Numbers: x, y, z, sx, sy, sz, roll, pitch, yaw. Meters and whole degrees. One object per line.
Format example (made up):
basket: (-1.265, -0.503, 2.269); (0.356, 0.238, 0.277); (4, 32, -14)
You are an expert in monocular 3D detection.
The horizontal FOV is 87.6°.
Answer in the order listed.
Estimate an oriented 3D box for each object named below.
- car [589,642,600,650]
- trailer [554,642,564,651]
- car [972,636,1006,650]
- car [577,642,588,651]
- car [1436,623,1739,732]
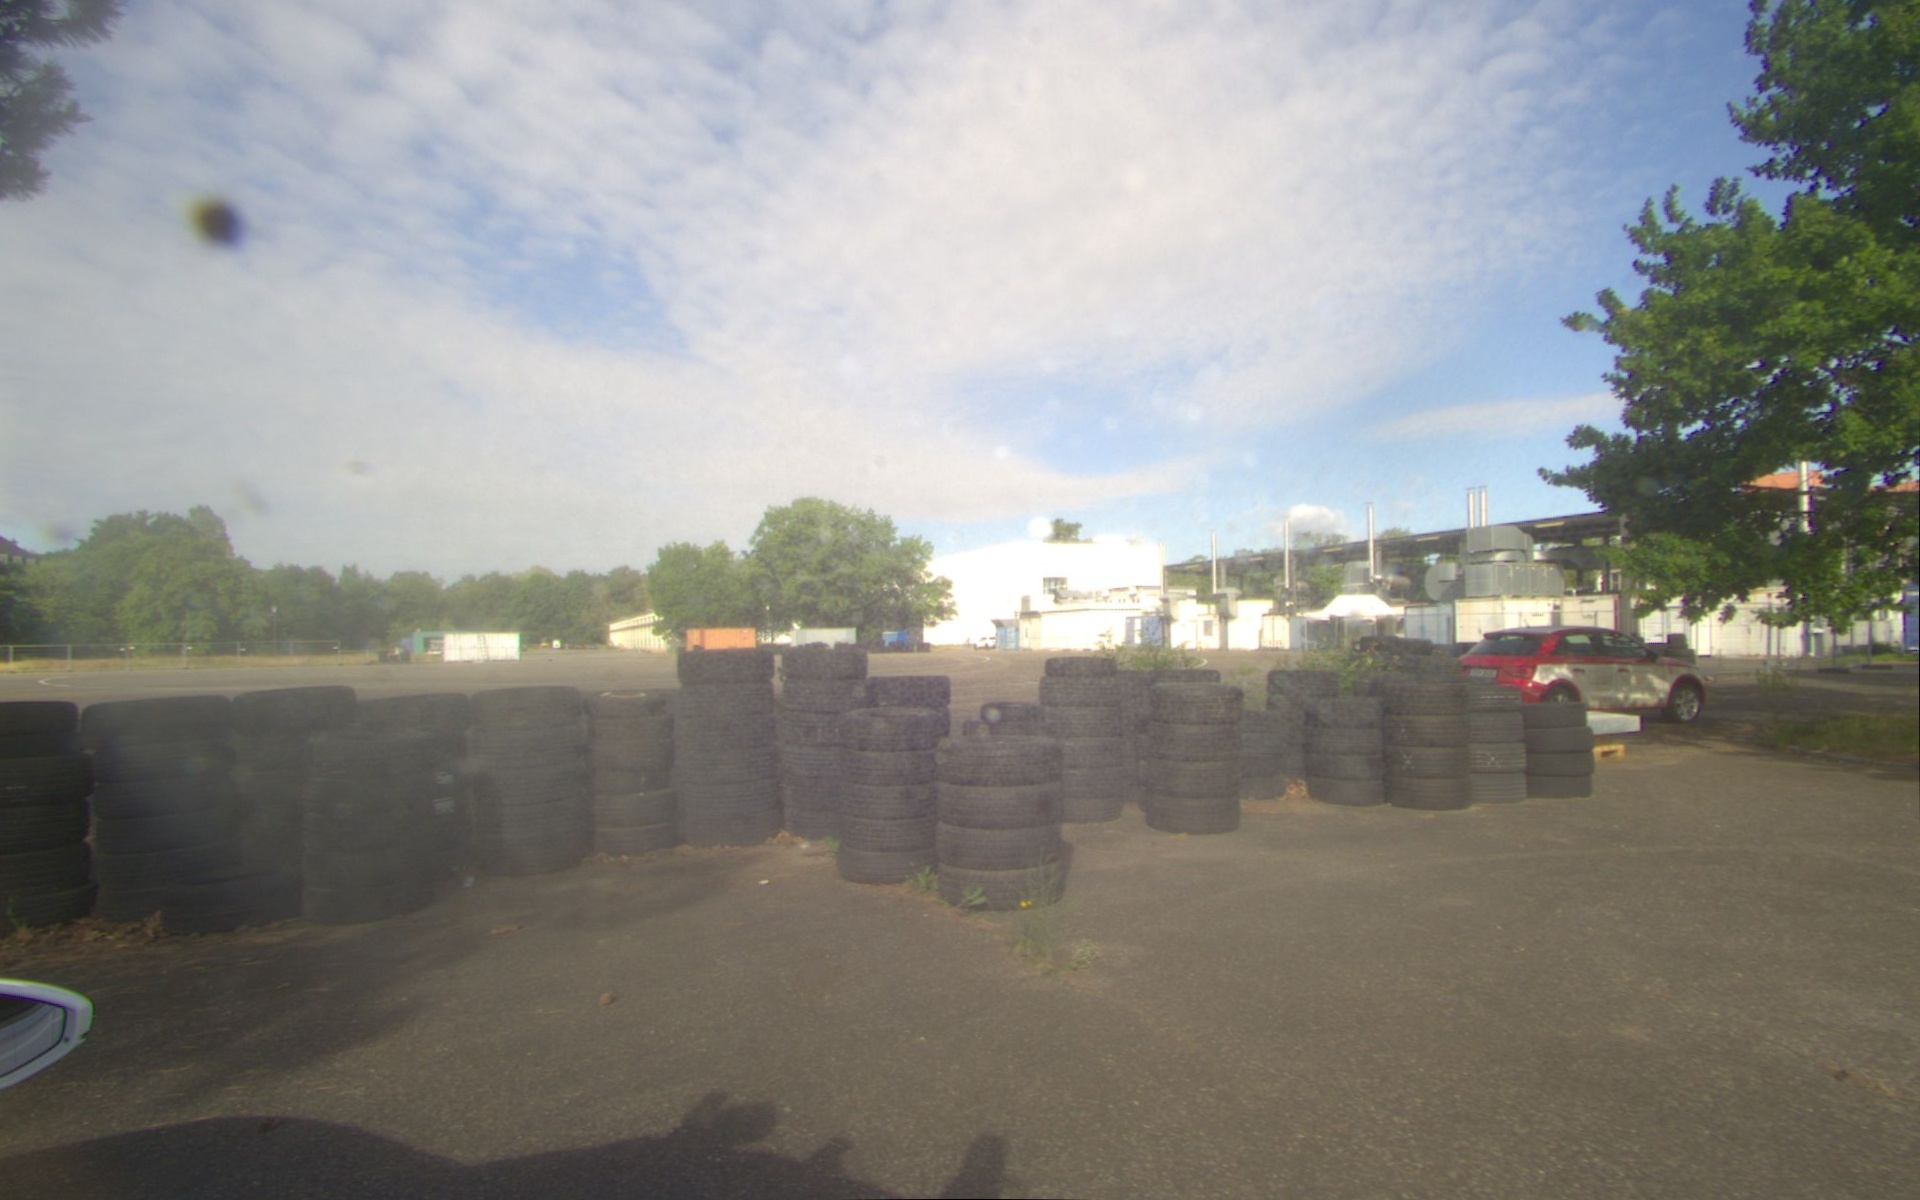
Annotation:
car: (-84.200, 10.571, 230.698); (1.969, 1.772, 3.986); (0, -2, -26)
trailer: (-91.695, 10.587, 228.944); (2.032, 2.039, 3.988); (0, -2, -24)
car: (3.154, 4.745, 110.546); (1.846, 1.584, 4.532); (0, -2, -25)
car: (-86.488, 10.657, 229.675); (2.006, 1.831, 3.986); (0, -2, -26)
car: (9.448, 1.108, 15.136); (3.929, 1.482, 1.726); (0, -2, -17)
